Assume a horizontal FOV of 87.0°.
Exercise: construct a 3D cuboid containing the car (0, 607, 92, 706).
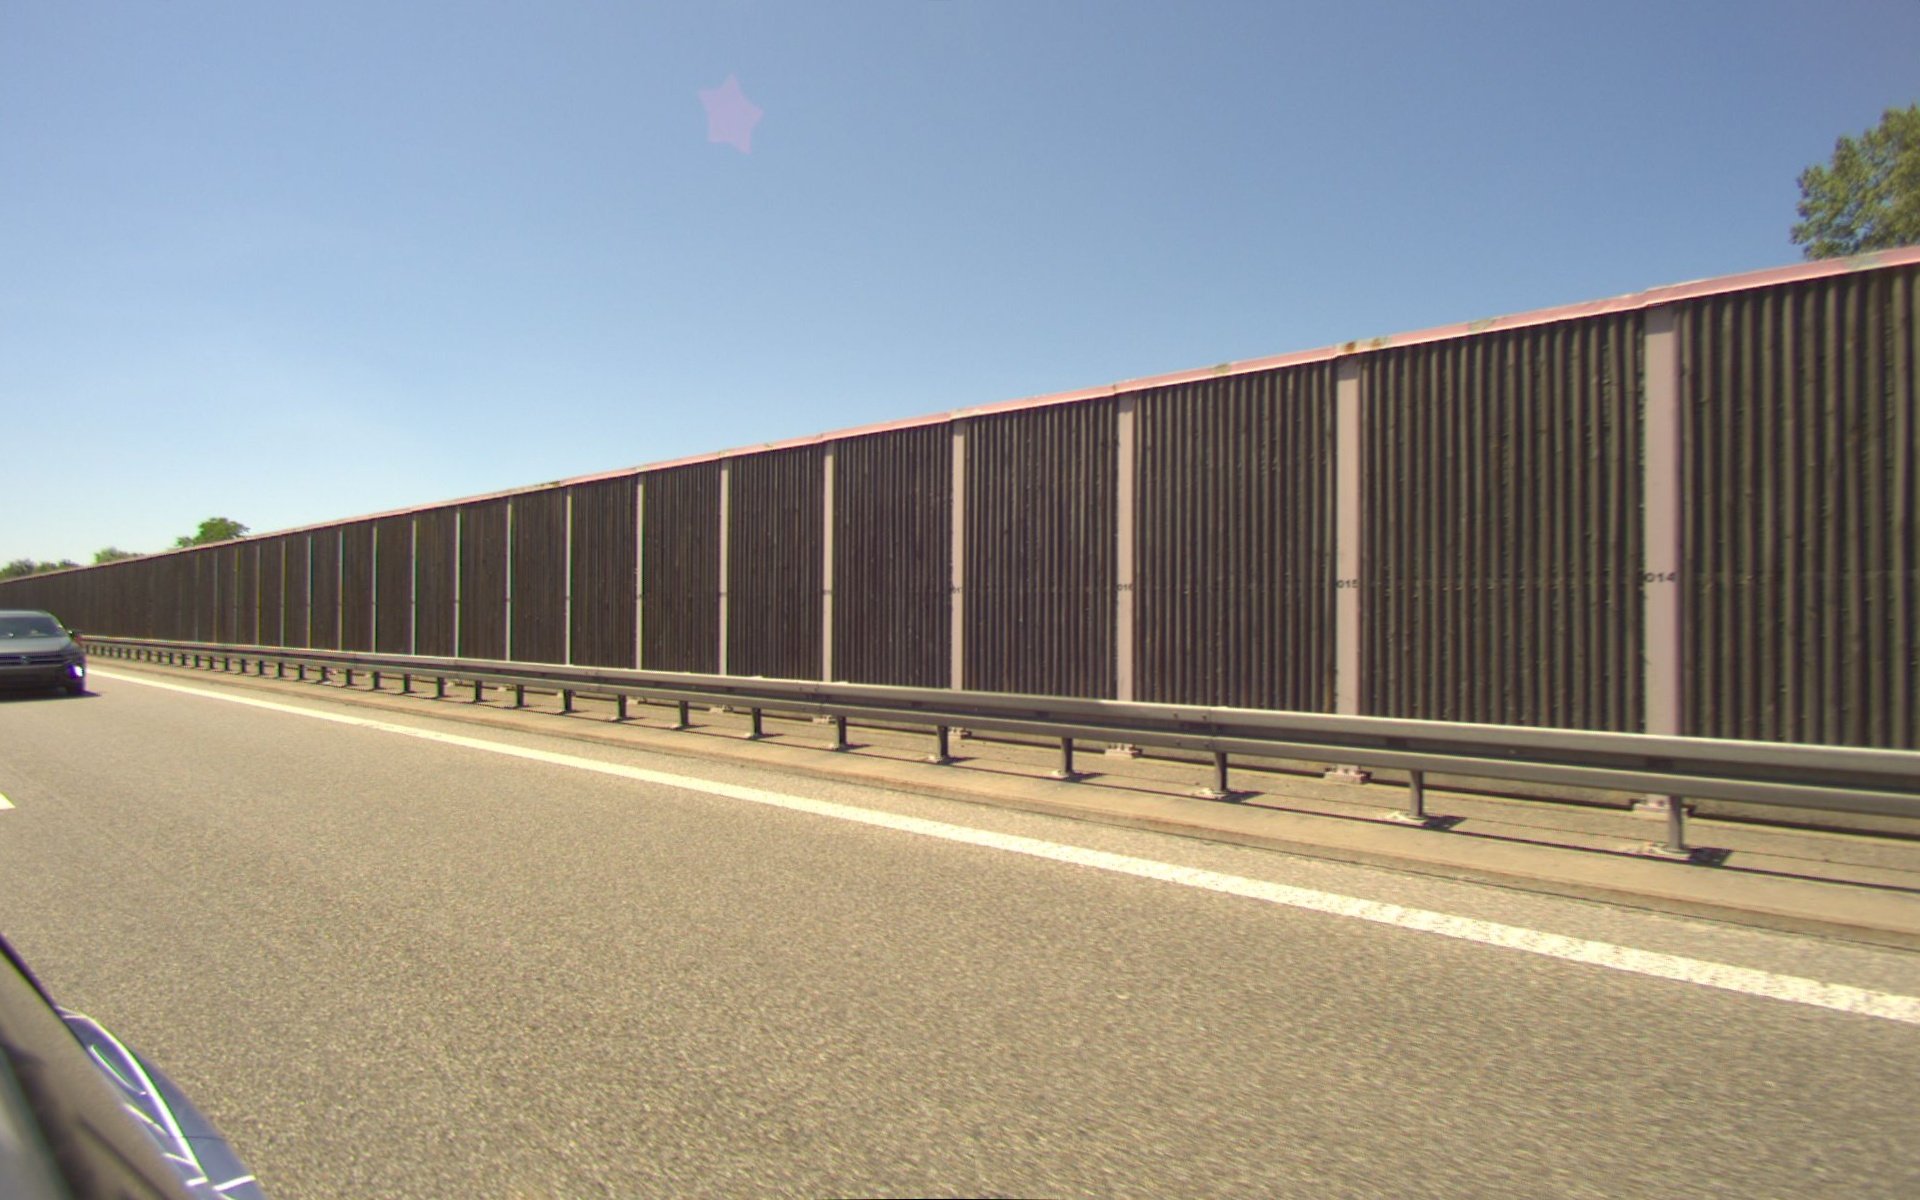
[{"bbox_3d":[-17.878,1.012,18.793,5.004,1.652,1.861,-2,-1,40],"label":"car"}]
